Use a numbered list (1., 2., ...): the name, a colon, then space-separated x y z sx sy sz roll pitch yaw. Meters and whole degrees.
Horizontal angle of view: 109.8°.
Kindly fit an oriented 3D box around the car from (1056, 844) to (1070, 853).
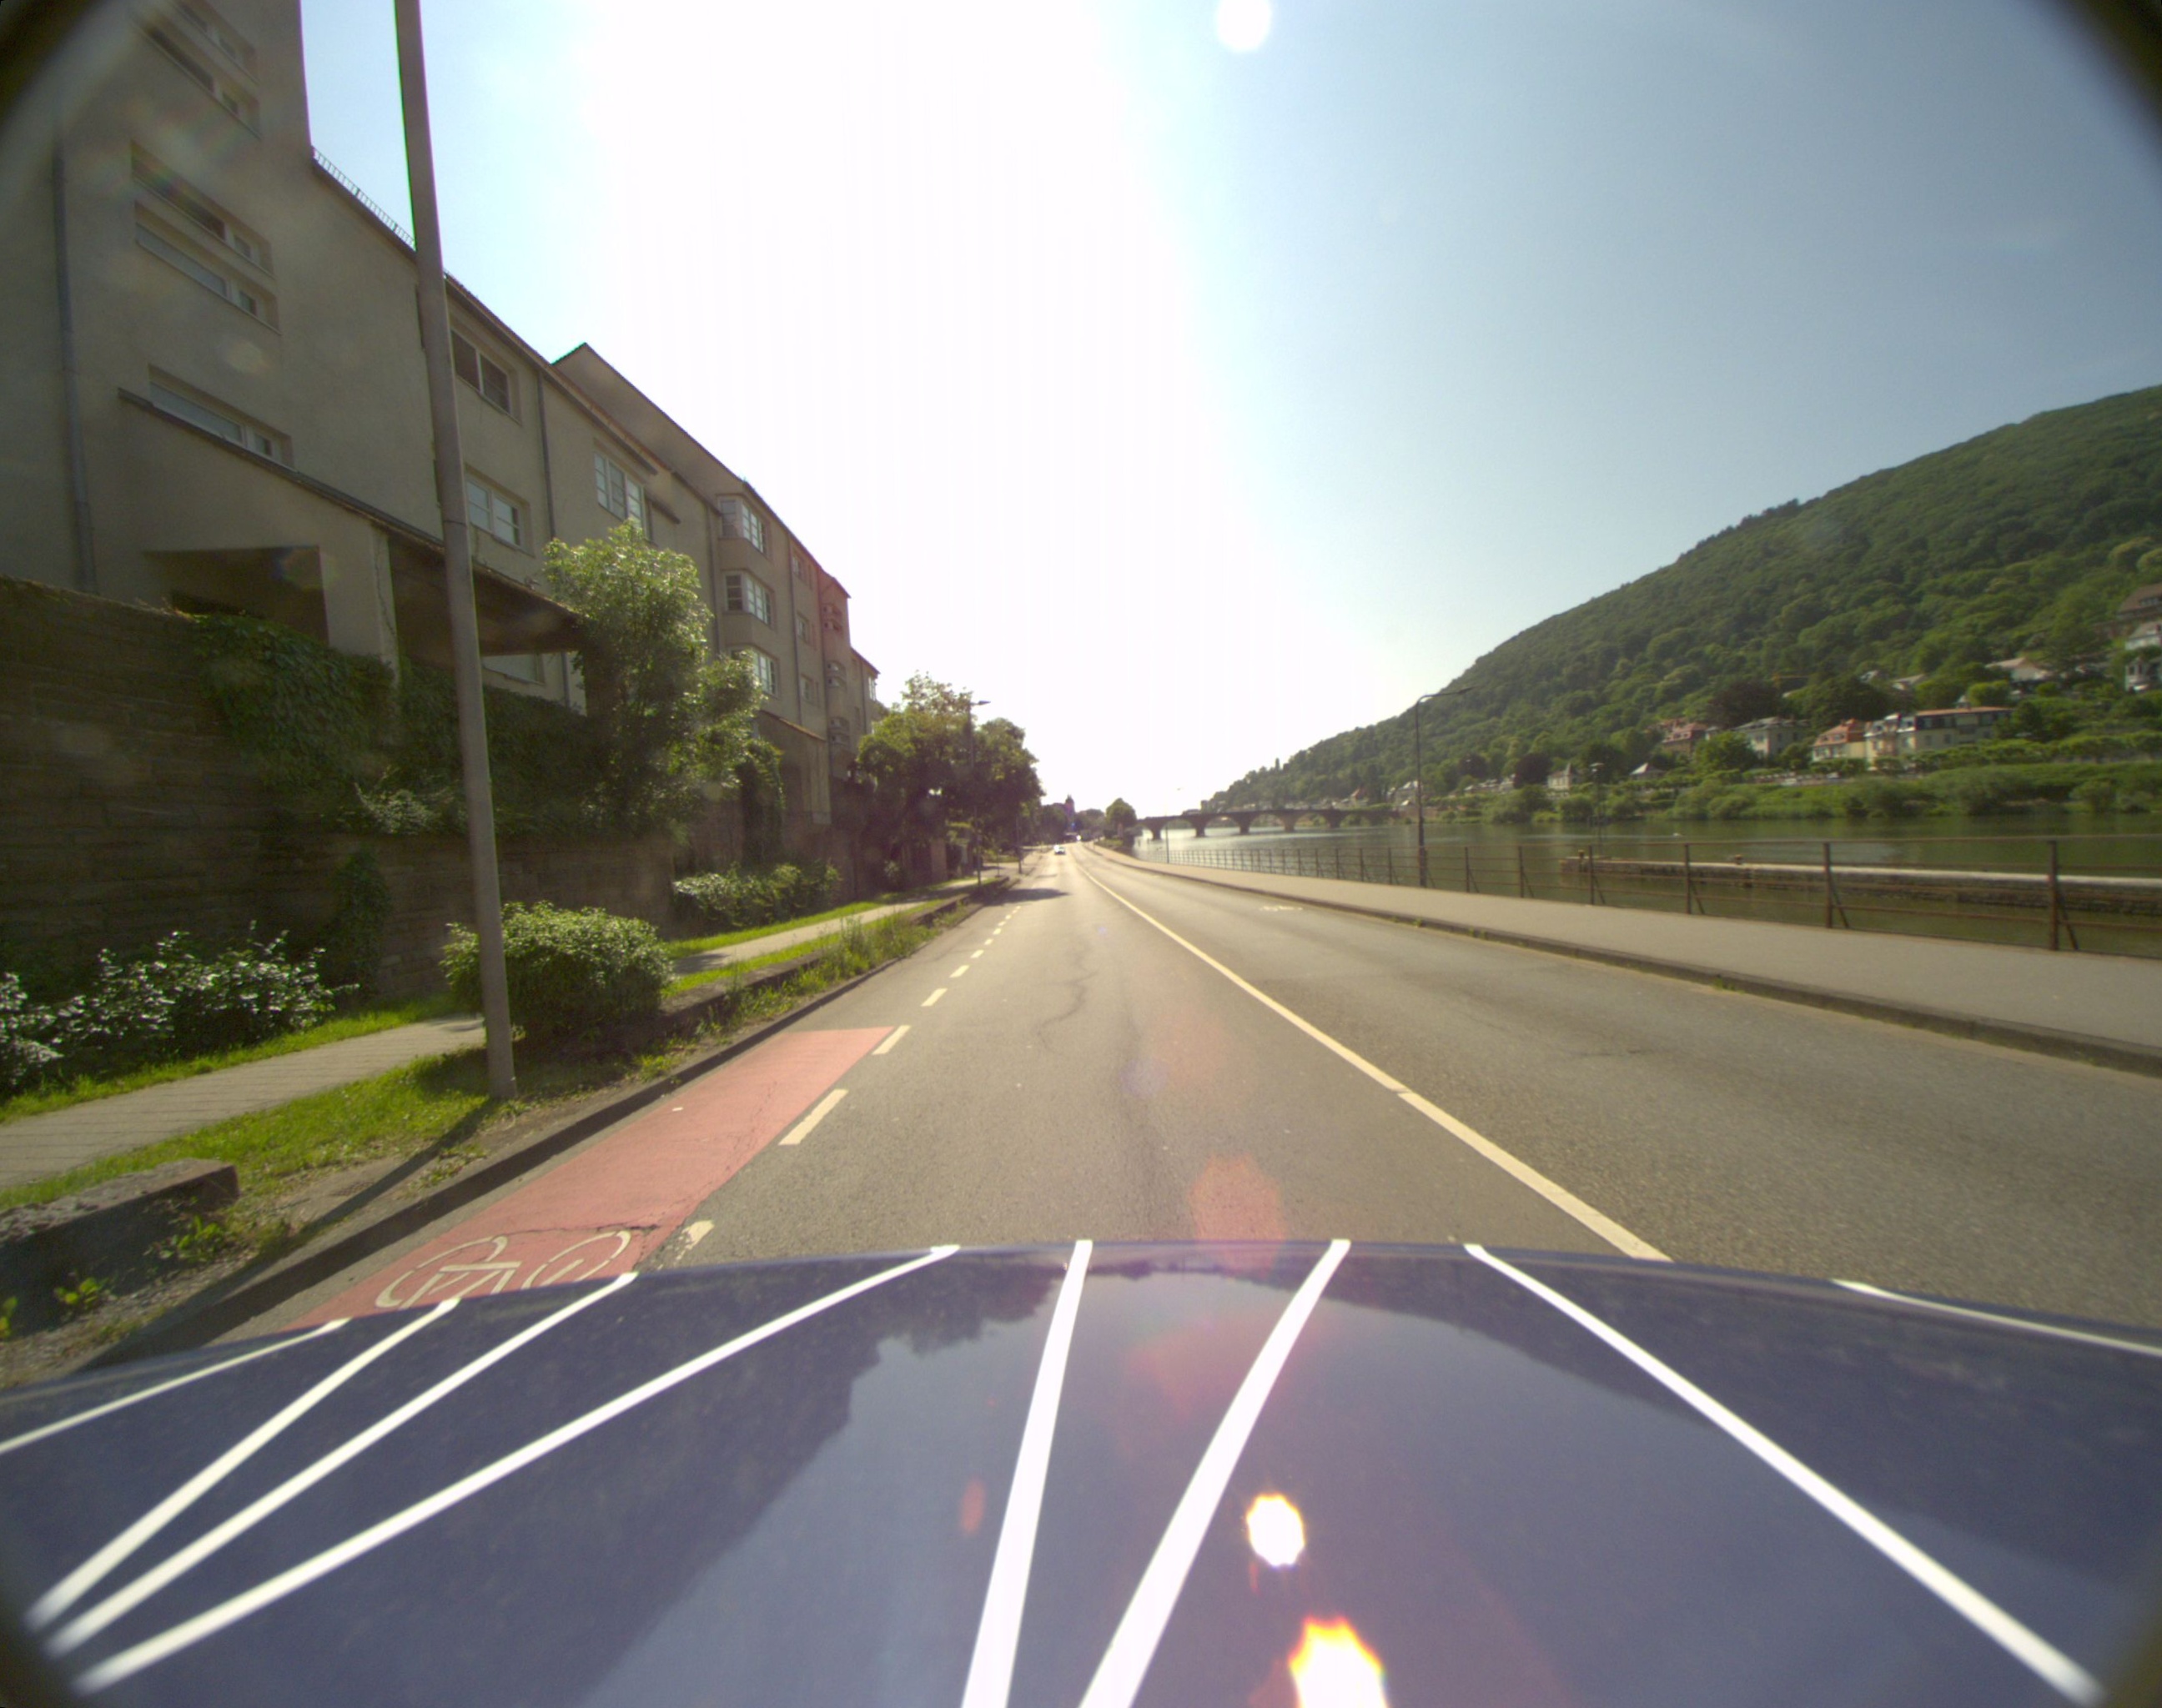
1. car: -2.898 -0.857 123.848 1.998 1.434 4.000 -2 1 1
